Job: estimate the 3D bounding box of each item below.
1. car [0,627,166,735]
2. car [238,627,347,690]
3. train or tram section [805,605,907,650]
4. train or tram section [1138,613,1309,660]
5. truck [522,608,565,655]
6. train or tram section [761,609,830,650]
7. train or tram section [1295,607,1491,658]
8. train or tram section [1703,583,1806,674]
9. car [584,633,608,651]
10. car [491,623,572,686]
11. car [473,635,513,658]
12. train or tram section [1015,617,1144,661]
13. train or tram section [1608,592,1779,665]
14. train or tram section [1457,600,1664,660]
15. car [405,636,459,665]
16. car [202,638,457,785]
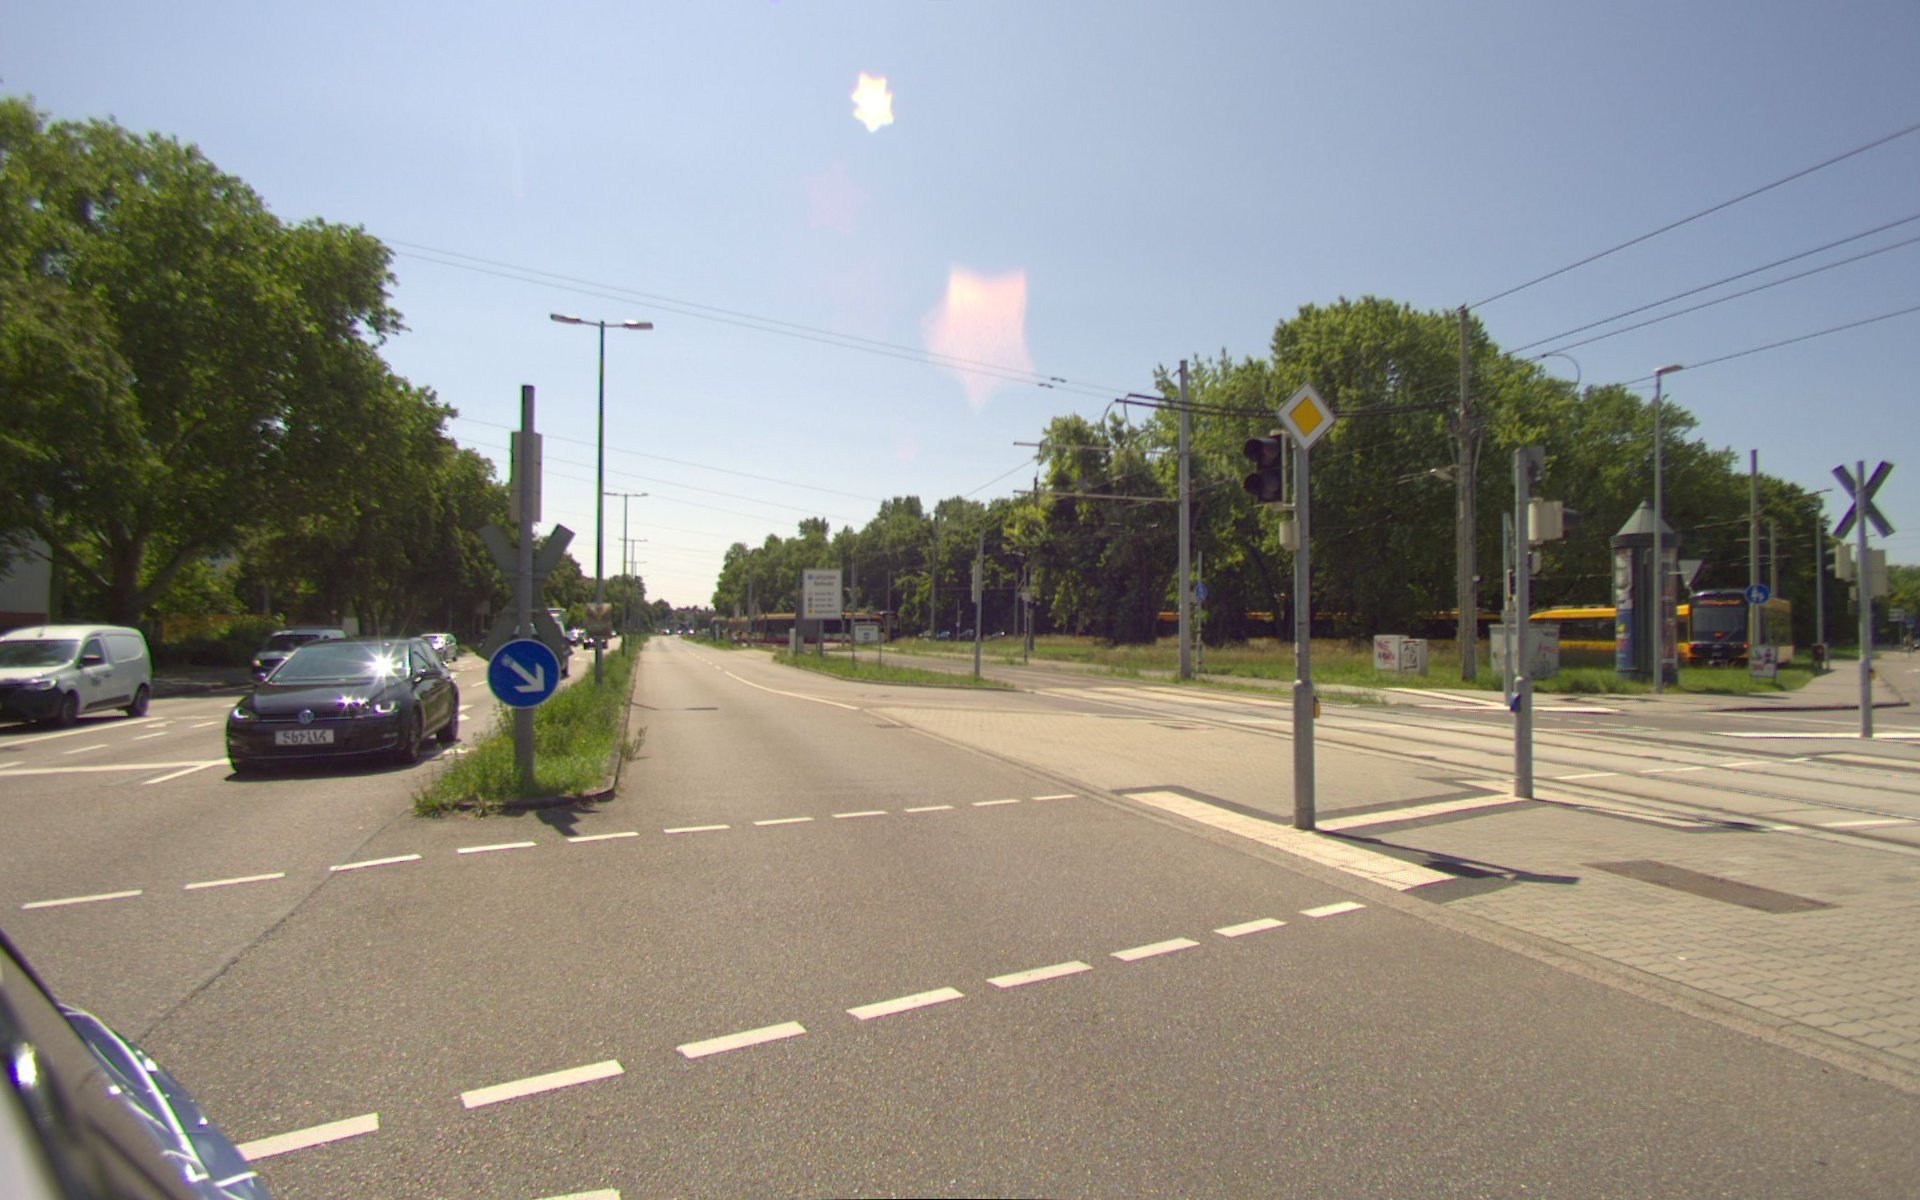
[{"bbox_3d":[-16.416,1.379,18.347,1.780,1.731,4.356,0,-2,-18],"label":"car"},{"bbox_3d":[-21.339,1.819,32.561,1.864,1.806,4.406,-2,-1,-19],"label":"car"},{"bbox_3d":[-10.827,2.944,103.721,12.753,4.287,2.982,-3,-3,44],"label":"train or tram section"},{"bbox_3d":[22.824,3.219,87.917,14.081,3.788,3.007,-2,-3,19],"label":"train or tram section"},{"bbox_3d":[-33.575,2.504,81.794,2.544,3.560,7.735,-2,-1,-18],"label":"truck"},{"bbox_3d":[-18.581,3.421,113.233,2.974,4.287,12.786,0,-3,-32],"label":"train or tram section"},{"bbox_3d":[34.539,2.732,81.452,14.172,3.788,2.987,-3,-3,38],"label":"train or tram section"},{"bbox_3d":[37.689,1.396,48.406,3.019,3.788,12.838,-3,-3,35],"label":"train or tram section"},{"bbox_3d":[-28.987,3.324,80.572,1.717,1.296,4.013,-2,-1,-20],"label":"car"},{"bbox_3d":[-14.281,1.772,33.978,1.910,1.946,4.860,1,-2,-16],"label":"car"},{"bbox_3d":[-30.029,2.962,65.130,1.817,1.436,4.227,0,-2,-17],"label":"car"},{"bbox_3d":[10.811,3.545,91.424,11.327,3.788,3.013,-2,-2,13],"label":"train or tram section"},{"bbox_3d":[42.101,1.727,58.776,2.992,3.788,11.582,-1,-2,9],"label":"train or tram section"},{"bbox_3d":[41.315,2.185,70.753,2.974,3.788,14.088,0,-2,-16],"label":"train or tram section"},{"bbox_3d":[-27.631,2.615,53.030,1.817,1.436,4.227,0,-2,-18],"label":"car"},{"bbox_3d":[-7.251,1.171,12.086,1.680,1.415,4.066,0,-2,-19],"label":"car"}]
